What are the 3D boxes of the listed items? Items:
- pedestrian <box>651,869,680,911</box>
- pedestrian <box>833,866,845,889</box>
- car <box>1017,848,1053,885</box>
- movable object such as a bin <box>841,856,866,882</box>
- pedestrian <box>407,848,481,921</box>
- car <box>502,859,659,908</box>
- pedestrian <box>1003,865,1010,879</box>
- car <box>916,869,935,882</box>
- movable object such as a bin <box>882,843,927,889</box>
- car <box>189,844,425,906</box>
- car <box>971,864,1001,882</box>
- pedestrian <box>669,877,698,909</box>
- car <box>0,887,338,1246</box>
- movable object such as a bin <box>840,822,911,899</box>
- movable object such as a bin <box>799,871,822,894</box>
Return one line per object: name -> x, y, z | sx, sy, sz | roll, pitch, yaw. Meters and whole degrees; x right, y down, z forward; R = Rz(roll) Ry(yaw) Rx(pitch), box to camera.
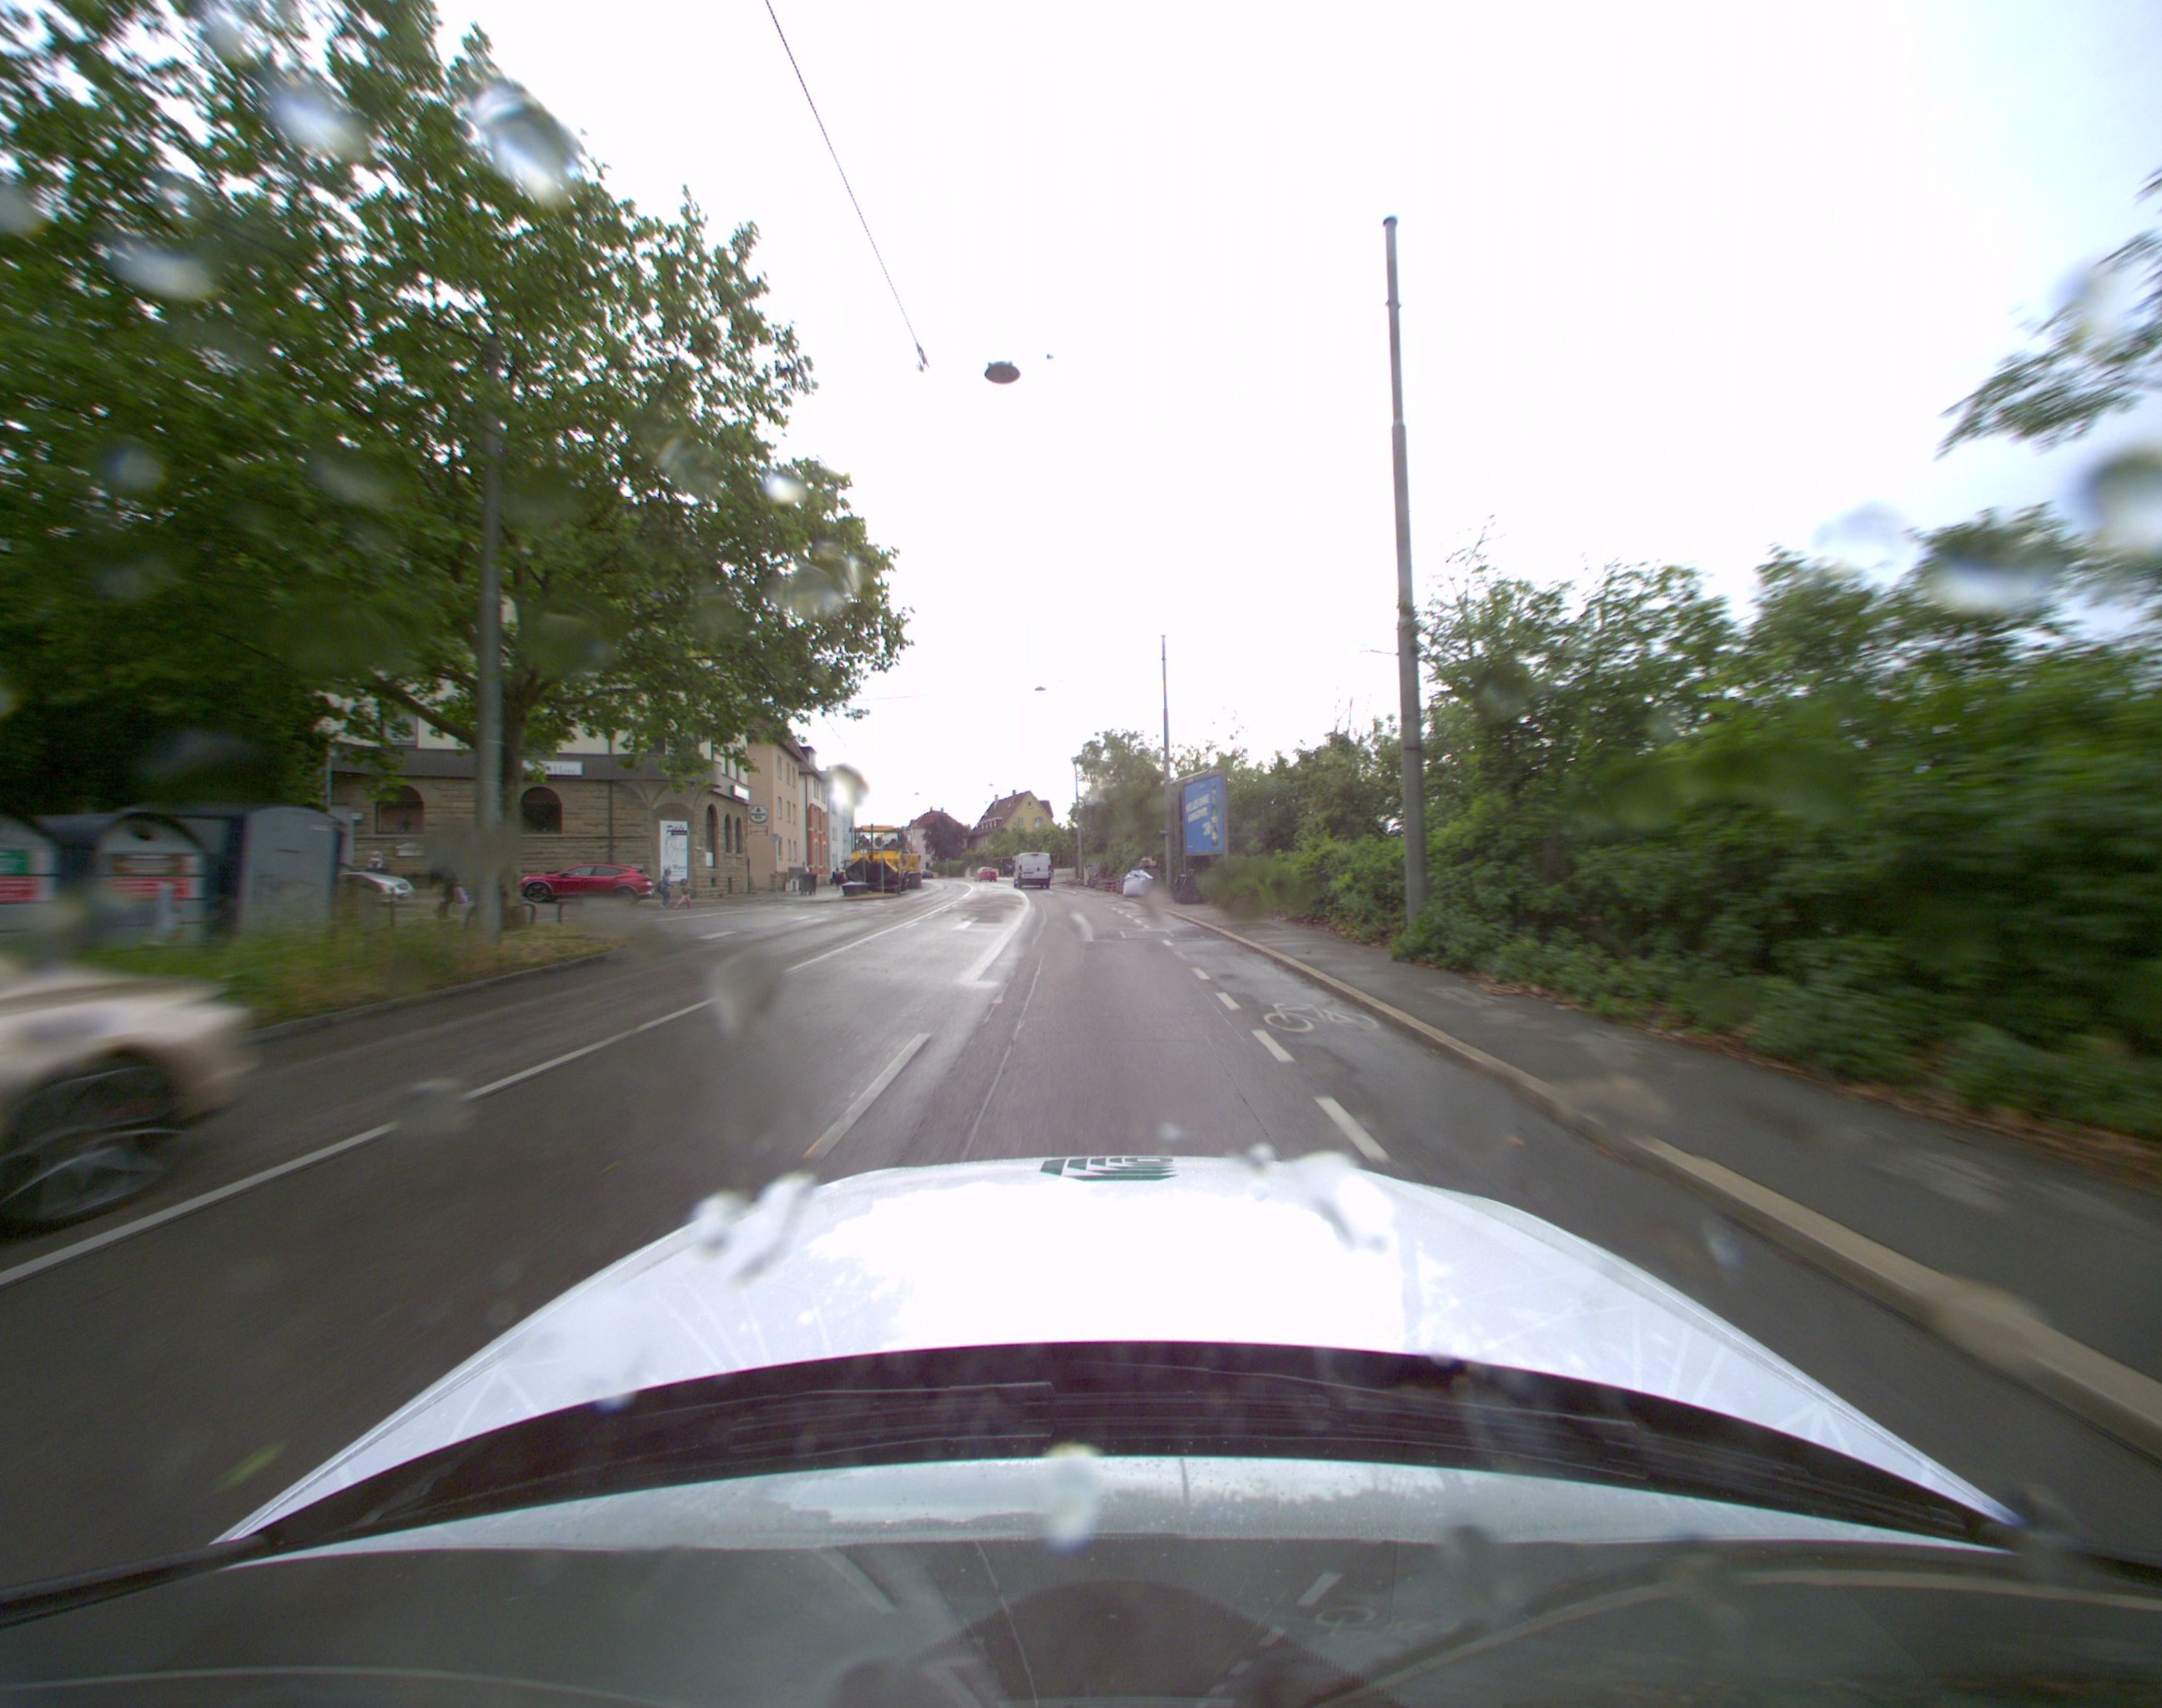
pedestrian -> -14.641, 1.263, 28.687 | 0.807, 1.401, 0.777 | 0, 1, -20
pedestrian -> -17.561, 1.707, 59.036 | 0.765, 1.588, 1.087 | 0, 1, -13
car -> -3.046, 0.755, 53.002 | 2.234, 2.213, 4.705 | 0, 1, -5
movable object such as a bin -> -24.796, 1.635, 88.764 | 1.992, 2.683, 4.616 | 0, 1, -8
pedestrian -> -14.667, 0.672, 18.767 | 0.883, 1.630, 0.997 | 0, 1, 4
car -> -18.106, 1.065, 29.737 | 4.548, 1.574, 1.923 | 2, 0, -22
pedestrian -> -9.151, 2.172, 100.244 | 0.905, 1.731, 0.652 | 0, 0, -7
car -> -23.487, 3.253, 122.733 | 2.244, 1.804, 4.685 | 0, 1, -18
movable object such as a bin -> -12.741, 0.787, 59.036 | 2.870, 3.173, 4.113 | 0, 1, -9
car -> -21.273, 0.578, 22.623 | 4.263, 1.385, 1.876 | 4, -1, -18
car -> -9.674, 1.884, 82.677 | 2.244, 1.656, 4.685 | 0, 1, -18
pedestrian -> -14.502, 1.422, 29.711 | 0.741, 1.124, 0.730 | 0, 1, -6
car -> -5.348, 0.905, 2.377 | 2.065, 1.353, 4.711 | 0, 1, -1
movable object such as a bin -> -10.982, 0.286, 44.068 | 2.770, 3.855, 5.977 | 0, 1, -5
movable object such as a bin -> -14.941, 1.562, 44.962 | 0.896, 1.222, 1.192 | 0, 1, -33
